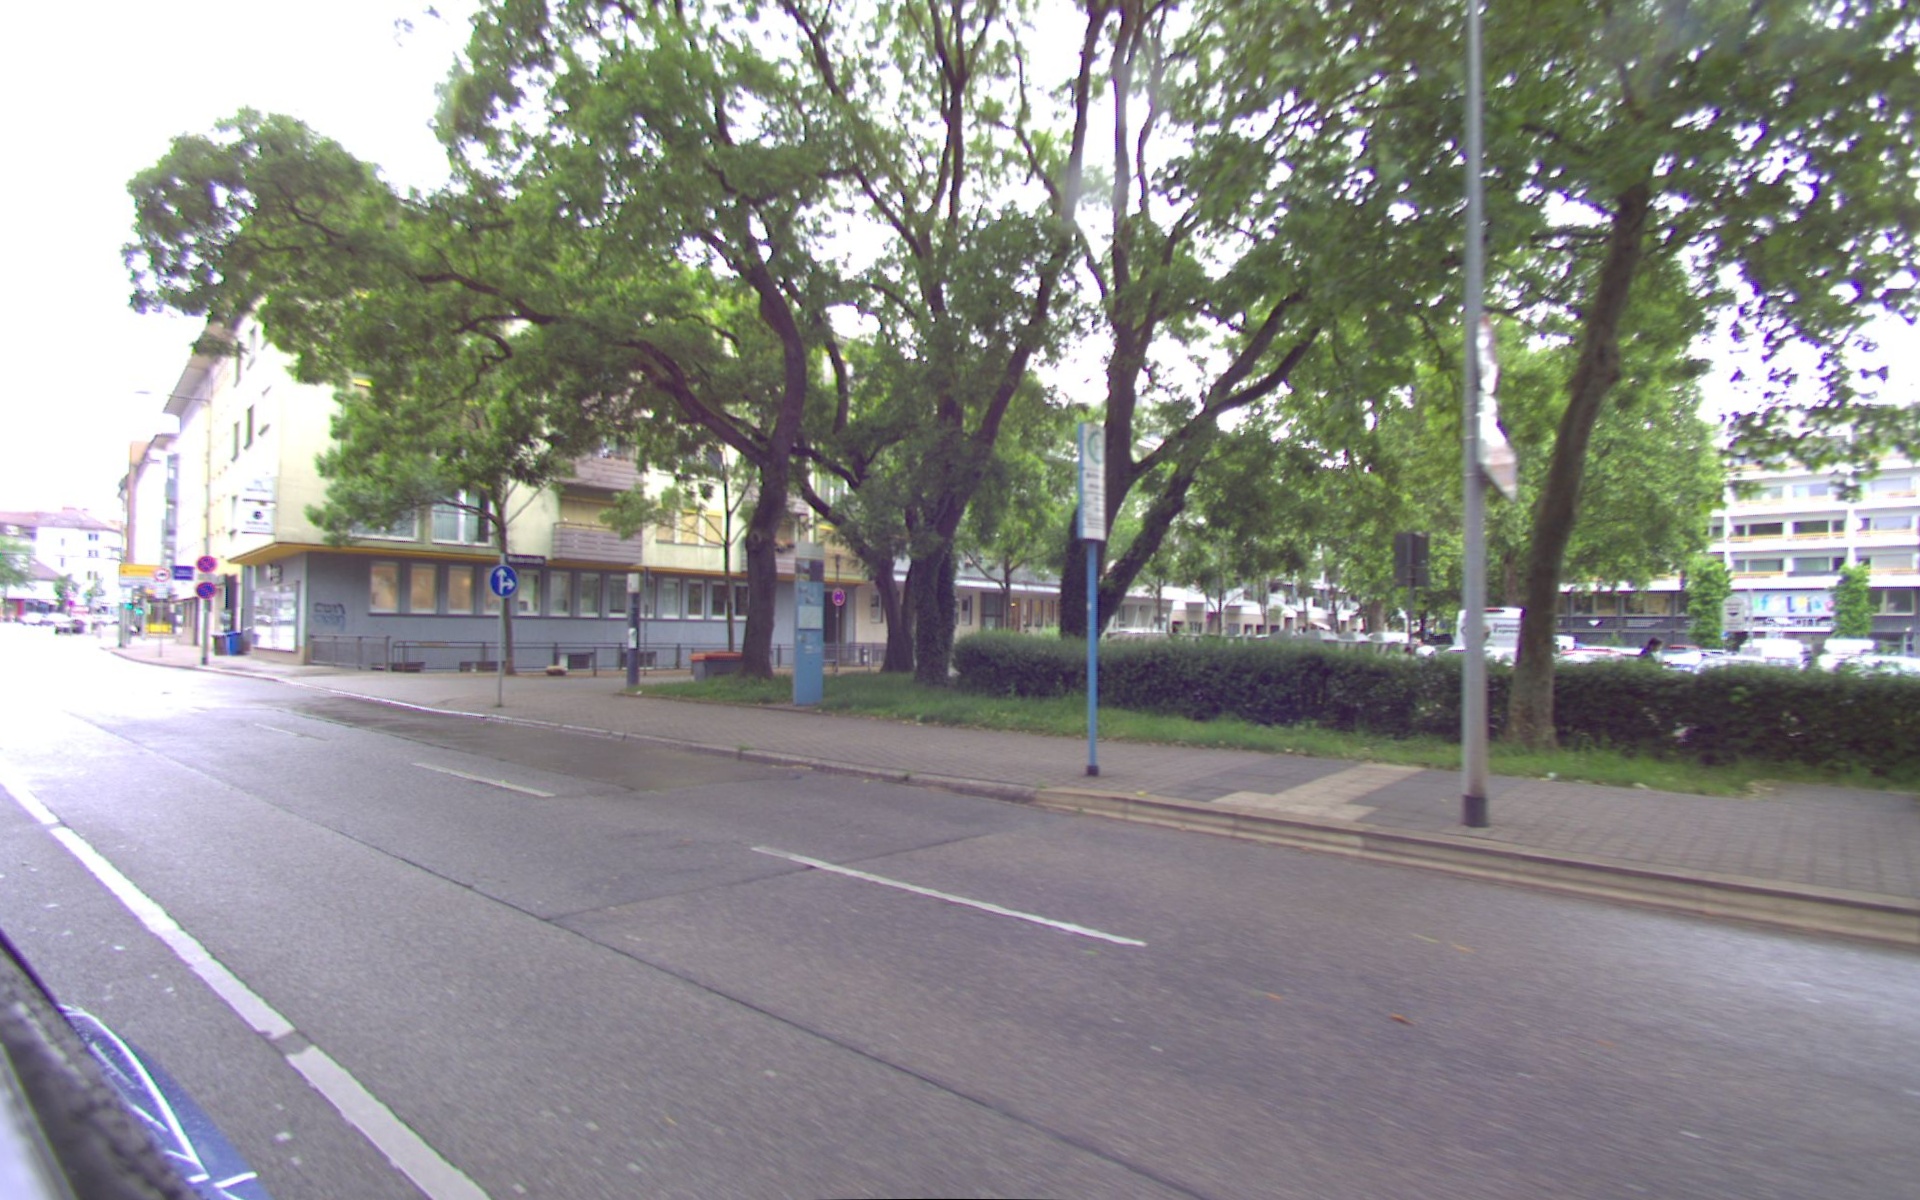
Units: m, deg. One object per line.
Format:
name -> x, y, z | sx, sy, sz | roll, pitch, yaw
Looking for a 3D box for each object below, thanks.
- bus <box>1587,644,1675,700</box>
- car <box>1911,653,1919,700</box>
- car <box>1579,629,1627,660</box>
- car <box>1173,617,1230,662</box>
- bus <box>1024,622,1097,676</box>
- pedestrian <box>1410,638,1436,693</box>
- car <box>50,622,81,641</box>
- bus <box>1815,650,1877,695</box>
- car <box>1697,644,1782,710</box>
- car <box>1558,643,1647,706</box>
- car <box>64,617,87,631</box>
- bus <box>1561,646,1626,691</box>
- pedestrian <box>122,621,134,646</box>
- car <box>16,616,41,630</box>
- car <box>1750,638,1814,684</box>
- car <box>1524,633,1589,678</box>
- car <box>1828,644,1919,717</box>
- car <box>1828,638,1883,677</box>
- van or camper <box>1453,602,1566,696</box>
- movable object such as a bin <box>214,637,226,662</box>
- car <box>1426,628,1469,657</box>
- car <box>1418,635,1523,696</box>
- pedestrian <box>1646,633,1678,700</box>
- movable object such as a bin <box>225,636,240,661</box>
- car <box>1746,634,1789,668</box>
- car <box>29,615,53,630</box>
bus -> 18.310, 1.930, 27.575 | 1.634, 1.399, 3.523 | -1, -3, 40
car -> 30.935, 2.397, 31.586 | 1.604, 1.439, 3.275 | -1, -3, 40
car -> 31.492, 2.200, 49.545 | 1.604, 1.439, 3.275 | -1, -3, 40
car -> 11.618, 1.923, 48.504 | 1.988, 2.029, 3.967 | 0, -3, 24
bus -> 3.890, 1.884, 38.795 | 1.703, 1.939, 3.697 | 0, -3, 24
pedestrian -> 10.631, 1.489, 23.238 | 0.465, 1.222, 0.433 | 0, 0, 34
car -> -82.914, 2.936, 93.791 | 4.002, 1.730, 1.863 | -2, -4, 45
bus -> 32.530, 2.630, 37.216 | 1.604, 1.551, 3.384 | -1, -3, 40
car -> 18.607, 1.807, 24.127 | 1.391, 1.446, 3.227 | -1, -4, 41
car -> 15.973, 1.813, 25.107 | 1.391, 1.446, 3.227 | -1, -4, 41
car -> -112.238, 3.072, 128.418 | 4.002, 1.670, 1.842 | -2, -4, 45
bus -> 23.529, 2.525, 37.536 | 1.604, 1.551, 3.384 | -1, -3, 40
pedestrian -> -61.473, 2.462, 74.790 | 0.586, 1.858, 0.565 | 3, -4, -42
car -> -112.443, 2.789, 122.123 | 4.002, 1.653, 1.971 | -2, -4, 45
car -> 27.547, 2.023, 33.911 | 1.604, 1.439, 3.275 | -1, -3, 40
car -> 25.001, 2.325, 42.354 | 1.815, 1.787, 3.883 | -1, -3, 39
car -> 19.825, 1.715, 22.007 | 1.391, 1.446, 3.227 | -1, -4, 41
car -> 39.715, 2.512, 44.918 | 1.639, 1.536, 3.161 | 0, 0, 38
van or camper -> 16.220, 1.427, 29.776 | 2.097, 2.556, 4.367 | -1, -3, 40
movable object such as a bin -> -30.930, 2.051, 42.303 | 0.333, 1.037, 0.354 | 3, -4, -42
car -> 26.630, 2.292, 55.220 | 1.428, 1.439, 2.926 | -1, 0, 40
car -> 13.477, 1.700, 26.641 | 1.700, 1.459, 3.384 | -1, -3, 41
pedestrian -> 13.319, 1.247, 19.206 | 0.484, 1.222, 0.433 | 0, 0, 34
movable object such as a bin -> -30.589, 2.041, 42.548 | 0.409, 1.037, 0.354 | 3, -4, -42
car -> 41.365, 2.579, 51.854 | 1.639, 1.536, 3.161 | -1, 0, 38
car -> -115.259, 2.837, 126.944 | 4.002, 1.866, 1.971 | -2, -4, 45
